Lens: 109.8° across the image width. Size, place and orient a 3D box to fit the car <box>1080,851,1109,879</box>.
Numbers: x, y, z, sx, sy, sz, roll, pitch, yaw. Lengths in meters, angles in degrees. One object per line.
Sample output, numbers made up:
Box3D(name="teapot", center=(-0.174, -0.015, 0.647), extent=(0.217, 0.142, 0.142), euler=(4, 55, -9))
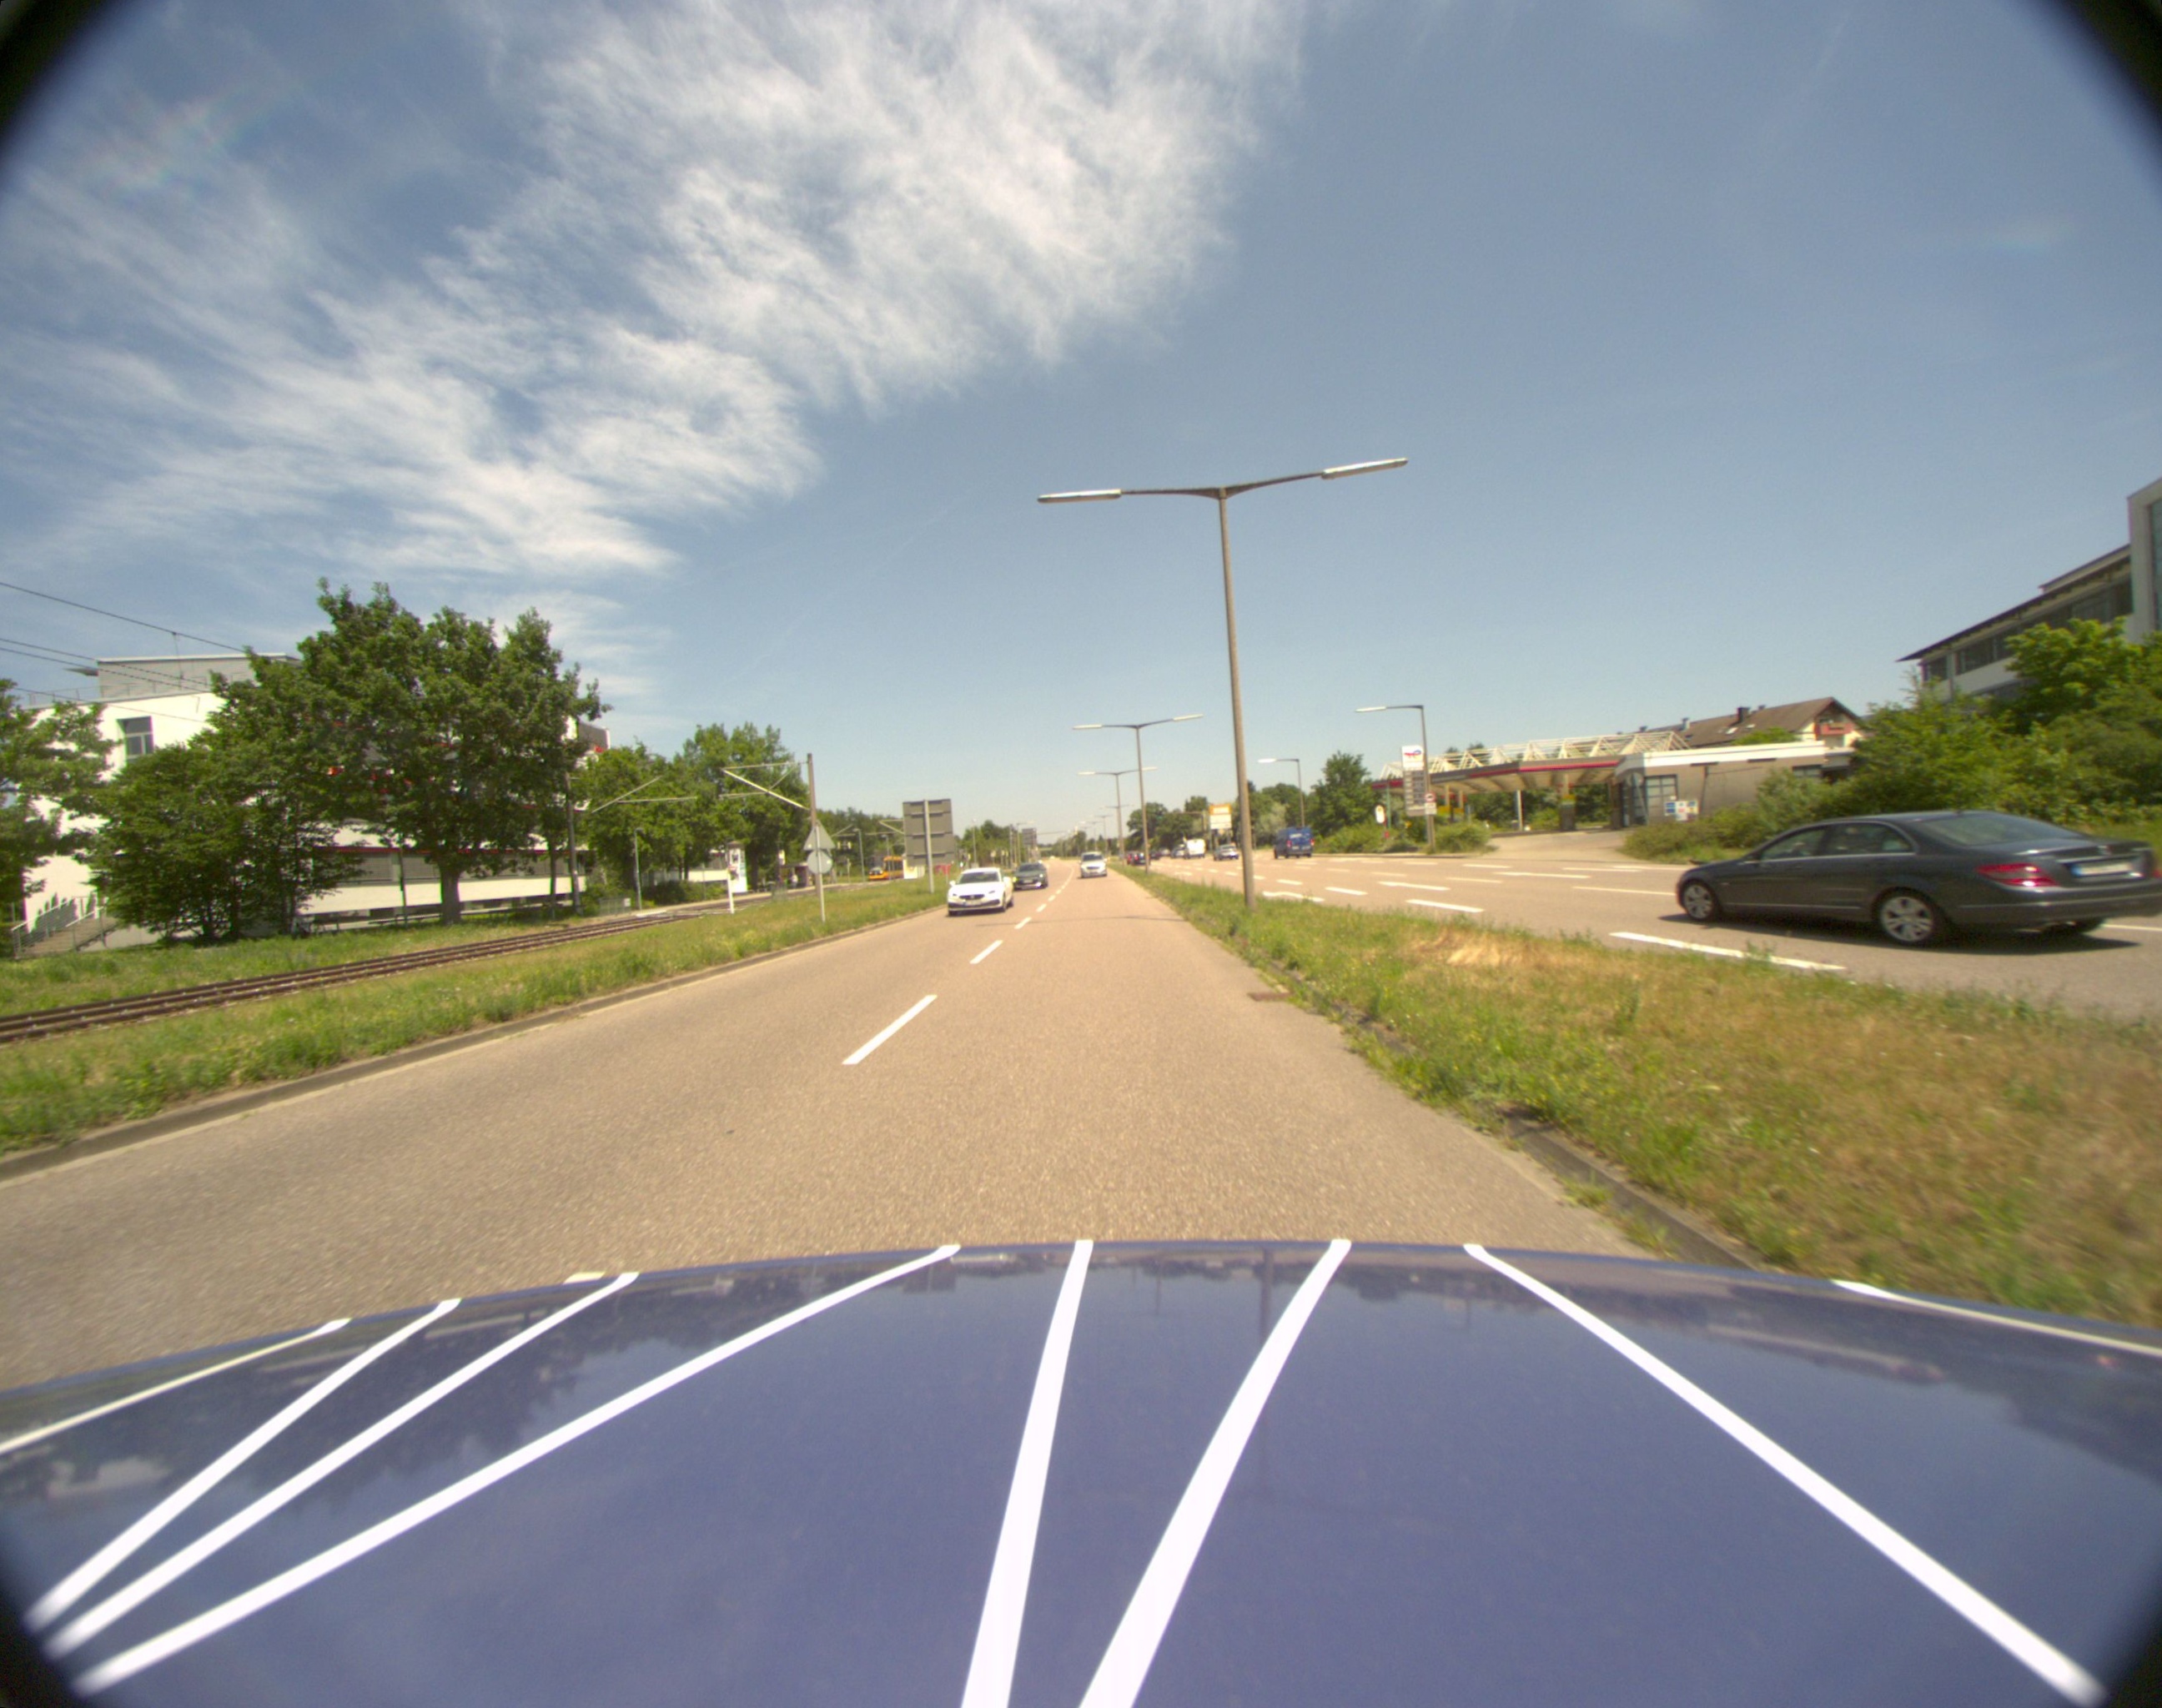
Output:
Box3D(name="car", center=(0.931, 0.769, 56.140), extent=(1.876, 1.866, 5.731), euler=(-4, 0, 0))

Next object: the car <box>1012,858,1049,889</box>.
Box3D(name="car", center=(-2.912, 1.117, 44.145), extent=(1.723, 1.587, 4.000), euler=(-4, 0, 1))

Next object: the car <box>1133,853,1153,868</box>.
Box3D(name="car", center=(6.418, 0.645, 79.385), extent=(1.680, 1.426, 4.191), euler=(-5, 0, 0))

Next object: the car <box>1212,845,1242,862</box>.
Box3D(name="car", center=(14.079, -0.075, 73.471), extent=(1.836, 1.441, 4.851), euler=(-4, 0, -1))

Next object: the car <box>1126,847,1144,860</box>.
Box3D(name="car", center=(6.534, -0.049, 91.927), extent=(1.663, 1.481, 3.999), euler=(-4, 0, -2))

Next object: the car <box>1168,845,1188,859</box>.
Box3D(name="car", center=(13.371, -0.336, 105.301), extent=(1.970, 1.740, 5.021), euler=(-3, 1, -1))

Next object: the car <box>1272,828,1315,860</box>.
Box3D(name="car", center=(17.394, -0.810, 62.577), extent=(2.178, 2.397, 5.673), euler=(-4, 0, 4))

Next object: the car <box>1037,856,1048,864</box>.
Box3D(name="car", center=(-8.453, 1.354, 166.984), extent=(1.998, 1.652, 4.000), euler=(-4, 0, 1))

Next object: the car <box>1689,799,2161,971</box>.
Box3D(name="car", center=(9.582, 0.265, 8.883), extent=(1.696, 1.483, 4.000), euler=(-4, 0, 1))

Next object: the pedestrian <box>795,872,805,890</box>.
Box3D(name="pedestrian", center=(-26.311, 2.526, 71.100), extent=(0.553, 1.599, 0.690), euler=(-5, 1, 1))

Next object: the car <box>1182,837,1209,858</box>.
Box3D(name="car", center=(13.897, -0.789, 92.445), extent=(2.255, 2.260, 5.448), euler=(-5, 0, 1))

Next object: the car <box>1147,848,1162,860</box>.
Box3D(name="car", center=(10.105, -0.025, 104.779), extent=(1.735, 1.449, 4.564), euler=(-4, 0, 1))

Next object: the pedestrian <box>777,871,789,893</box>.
Box3D(name="pedestrian", center=(-25.622, 2.424, 65.416), extent=(0.696, 1.831, 0.711), euler=(-6, 1, -15))

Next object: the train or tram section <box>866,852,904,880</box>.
Box3D(name="train or tram section", center=(-27.654, 1.560, 107.752), extent=(2.822, 3.561, 12.496), euler=(-4, 0, -5))

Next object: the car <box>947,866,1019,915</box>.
Box3D(name="car", center=(-3.171, 1.159, 25.432), extent=(1.686, 1.381, 4.451), euler=(-2, 0, 2))

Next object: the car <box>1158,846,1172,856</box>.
Box3D(name="car", center=(13.740, -0.465, 124.670), extent=(1.663, 1.530, 3.999), euler=(-6, 0, -2))
